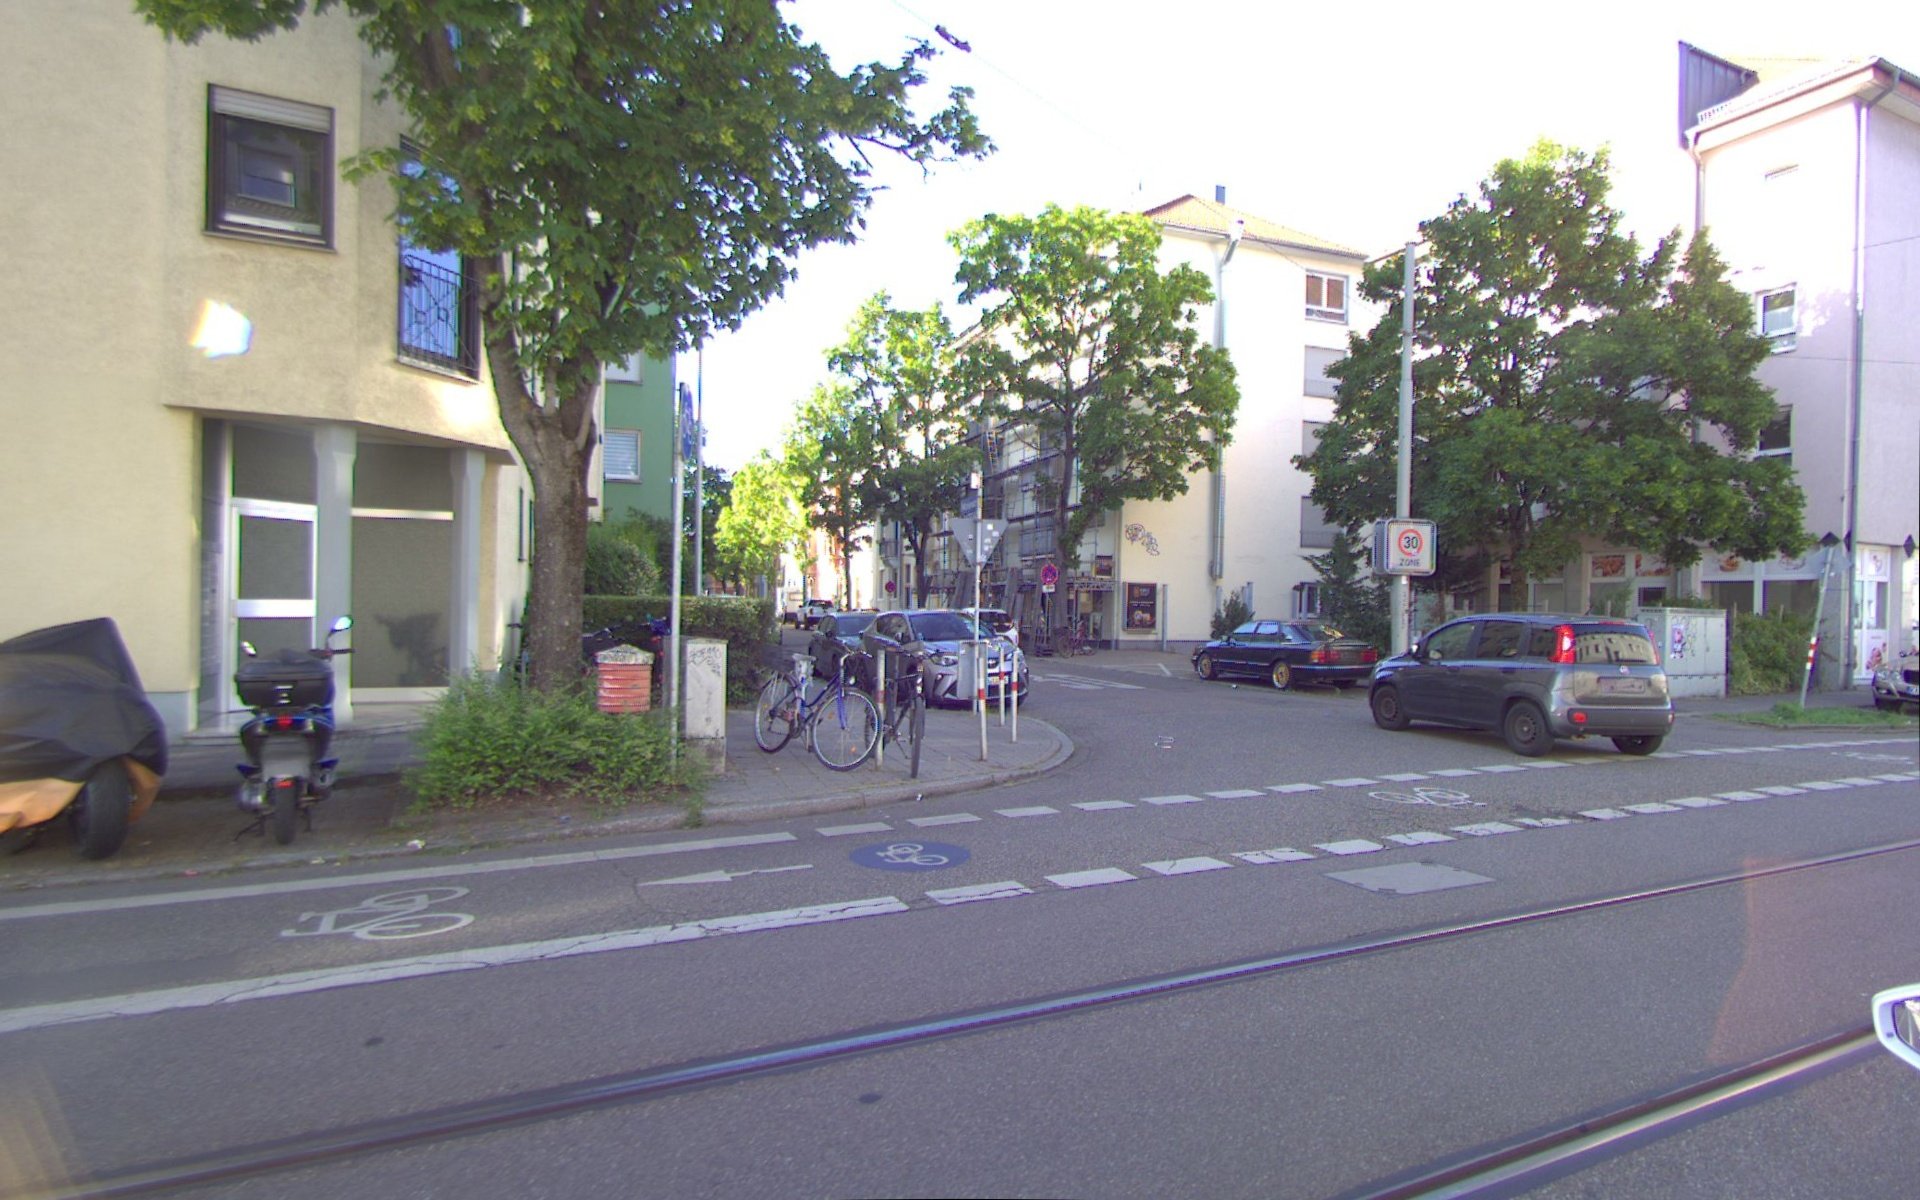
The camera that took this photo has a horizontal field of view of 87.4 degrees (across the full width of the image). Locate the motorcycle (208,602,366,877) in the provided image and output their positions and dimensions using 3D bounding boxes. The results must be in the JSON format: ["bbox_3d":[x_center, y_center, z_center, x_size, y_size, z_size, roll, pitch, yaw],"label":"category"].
[{"bbox_3d":[-4.251,0.758,6.418,0.713,1.466,1.957,1,0,-32],"label":"motorcycle"}]

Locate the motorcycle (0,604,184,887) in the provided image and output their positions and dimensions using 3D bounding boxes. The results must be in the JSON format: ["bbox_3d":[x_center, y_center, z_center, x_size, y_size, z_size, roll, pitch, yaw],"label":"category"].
[{"bbox_3d":[-5.417,0.770,6.173,0.827,1.466,1.957,1,0,-32],"label":"motorcycle"}]

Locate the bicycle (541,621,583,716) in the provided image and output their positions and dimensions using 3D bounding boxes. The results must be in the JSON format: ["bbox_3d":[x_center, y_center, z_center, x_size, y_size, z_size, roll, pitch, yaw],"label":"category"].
[{"bbox_3d":[-4.989,0.828,12.567,0.328,1.060,1.383,1,1,-28],"label":"bicycle"}]

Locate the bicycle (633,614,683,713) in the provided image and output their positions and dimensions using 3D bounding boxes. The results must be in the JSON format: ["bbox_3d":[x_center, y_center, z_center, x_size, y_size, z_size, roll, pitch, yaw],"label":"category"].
[{"bbox_3d":[-3.910,0.789,12.950,0.328,1.159,1.383,1,1,-28],"label":"bicycle"}]

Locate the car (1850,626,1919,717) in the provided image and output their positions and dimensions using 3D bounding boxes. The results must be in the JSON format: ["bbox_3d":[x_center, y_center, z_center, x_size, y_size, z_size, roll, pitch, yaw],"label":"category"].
[{"bbox_3d":[17.604,1.241,17.517,3.948,1.462,1.738,1,2,-27],"label":"car"}]

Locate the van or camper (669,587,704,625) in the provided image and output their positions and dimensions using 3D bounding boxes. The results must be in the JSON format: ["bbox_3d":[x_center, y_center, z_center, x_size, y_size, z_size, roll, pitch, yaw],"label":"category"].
[{"bbox_3d":[-19.509,0.413,71.559,1.970,2.587,4.999,1,0,-20],"label":"van or camper"}]

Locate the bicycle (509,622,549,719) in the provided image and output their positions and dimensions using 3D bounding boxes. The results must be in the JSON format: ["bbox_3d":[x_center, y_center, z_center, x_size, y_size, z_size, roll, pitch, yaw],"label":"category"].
[{"bbox_3d":[-5.318,0.840,12.373,0.328,1.060,1.383,1,1,-28],"label":"bicycle"}]

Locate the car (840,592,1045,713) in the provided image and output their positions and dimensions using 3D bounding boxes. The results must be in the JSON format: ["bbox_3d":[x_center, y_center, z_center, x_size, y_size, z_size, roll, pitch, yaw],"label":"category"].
[{"bbox_3d":[-0.421,0.752,16.399,1.883,1.682,3.975,-1,0,-25],"label":"car"}]

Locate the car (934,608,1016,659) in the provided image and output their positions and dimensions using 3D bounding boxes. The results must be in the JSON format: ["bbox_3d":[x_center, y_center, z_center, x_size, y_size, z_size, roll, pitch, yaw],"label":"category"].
[{"bbox_3d":[0.445,1.082,33.184,1.654,1.565,3.389,1,0,-19],"label":"car"}]

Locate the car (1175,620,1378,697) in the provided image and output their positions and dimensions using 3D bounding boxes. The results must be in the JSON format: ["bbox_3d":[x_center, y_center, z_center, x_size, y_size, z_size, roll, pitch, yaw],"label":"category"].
[{"bbox_3d":[6.589,1.171,21.467,1.688,1.406,4.548,2,-1,-21],"label":"car"}]

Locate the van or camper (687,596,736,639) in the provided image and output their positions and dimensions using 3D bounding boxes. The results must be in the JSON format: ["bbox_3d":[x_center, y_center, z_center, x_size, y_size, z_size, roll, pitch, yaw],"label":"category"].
[{"bbox_3d":[-12.379,0.831,49.857,1.969,2.040,4.891,0,0,-18],"label":"van or camper"}]

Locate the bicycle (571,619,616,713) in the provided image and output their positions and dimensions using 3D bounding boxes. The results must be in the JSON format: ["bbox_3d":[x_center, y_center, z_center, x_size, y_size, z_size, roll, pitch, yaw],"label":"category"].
[{"bbox_3d":[-4.654,0.805,12.729,0.328,1.060,1.383,1,1,-28],"label":"bicycle"}]

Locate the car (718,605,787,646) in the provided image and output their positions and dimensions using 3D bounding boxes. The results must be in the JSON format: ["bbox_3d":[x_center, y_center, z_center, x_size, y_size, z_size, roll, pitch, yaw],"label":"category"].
[{"bbox_3d":[-8.244,0.962,39.692,1.956,1.475,4.092,0,0,-22],"label":"car"}]

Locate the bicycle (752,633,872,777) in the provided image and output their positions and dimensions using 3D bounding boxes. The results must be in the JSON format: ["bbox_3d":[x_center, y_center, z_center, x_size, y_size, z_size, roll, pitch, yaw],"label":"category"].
[{"bbox_3d":[-1.361,0.867,8.934,0.587,1.099,1.801,1,0,-24],"label":"bicycle"}]

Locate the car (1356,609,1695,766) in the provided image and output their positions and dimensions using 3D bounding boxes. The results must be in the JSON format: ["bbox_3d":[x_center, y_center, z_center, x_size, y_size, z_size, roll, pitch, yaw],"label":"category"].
[{"bbox_3d":[6.389,0.892,11.800,1.535,1.553,3.478,1,-1,-13],"label":"car"}]

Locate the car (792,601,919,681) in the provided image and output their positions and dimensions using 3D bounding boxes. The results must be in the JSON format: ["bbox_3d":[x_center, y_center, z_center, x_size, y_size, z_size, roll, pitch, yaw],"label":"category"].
[{"bbox_3d":[-2.356,0.810,21.632,1.732,1.517,4.116,-1,0,-20],"label":"car"}]

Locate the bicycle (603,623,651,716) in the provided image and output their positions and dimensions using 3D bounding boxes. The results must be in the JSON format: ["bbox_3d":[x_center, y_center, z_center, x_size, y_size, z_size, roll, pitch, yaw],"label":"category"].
[{"bbox_3d":[-4.246,0.854,12.771,0.328,1.060,1.383,1,1,-28],"label":"bicycle"}]

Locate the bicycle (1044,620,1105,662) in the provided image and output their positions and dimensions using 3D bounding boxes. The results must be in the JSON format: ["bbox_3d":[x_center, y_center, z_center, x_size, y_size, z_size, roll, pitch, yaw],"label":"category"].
[{"bbox_3d":[3.622,1.275,31.713,1.968,1.181,0.719,-2,2,-37],"label":"bicycle"}]

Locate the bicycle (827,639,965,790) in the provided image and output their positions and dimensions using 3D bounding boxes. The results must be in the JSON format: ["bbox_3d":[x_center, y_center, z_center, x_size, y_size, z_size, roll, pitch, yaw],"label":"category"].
[{"bbox_3d":[-0.611,0.928,8.781,0.587,1.099,1.872,1,0,-24],"label":"bicycle"}]
